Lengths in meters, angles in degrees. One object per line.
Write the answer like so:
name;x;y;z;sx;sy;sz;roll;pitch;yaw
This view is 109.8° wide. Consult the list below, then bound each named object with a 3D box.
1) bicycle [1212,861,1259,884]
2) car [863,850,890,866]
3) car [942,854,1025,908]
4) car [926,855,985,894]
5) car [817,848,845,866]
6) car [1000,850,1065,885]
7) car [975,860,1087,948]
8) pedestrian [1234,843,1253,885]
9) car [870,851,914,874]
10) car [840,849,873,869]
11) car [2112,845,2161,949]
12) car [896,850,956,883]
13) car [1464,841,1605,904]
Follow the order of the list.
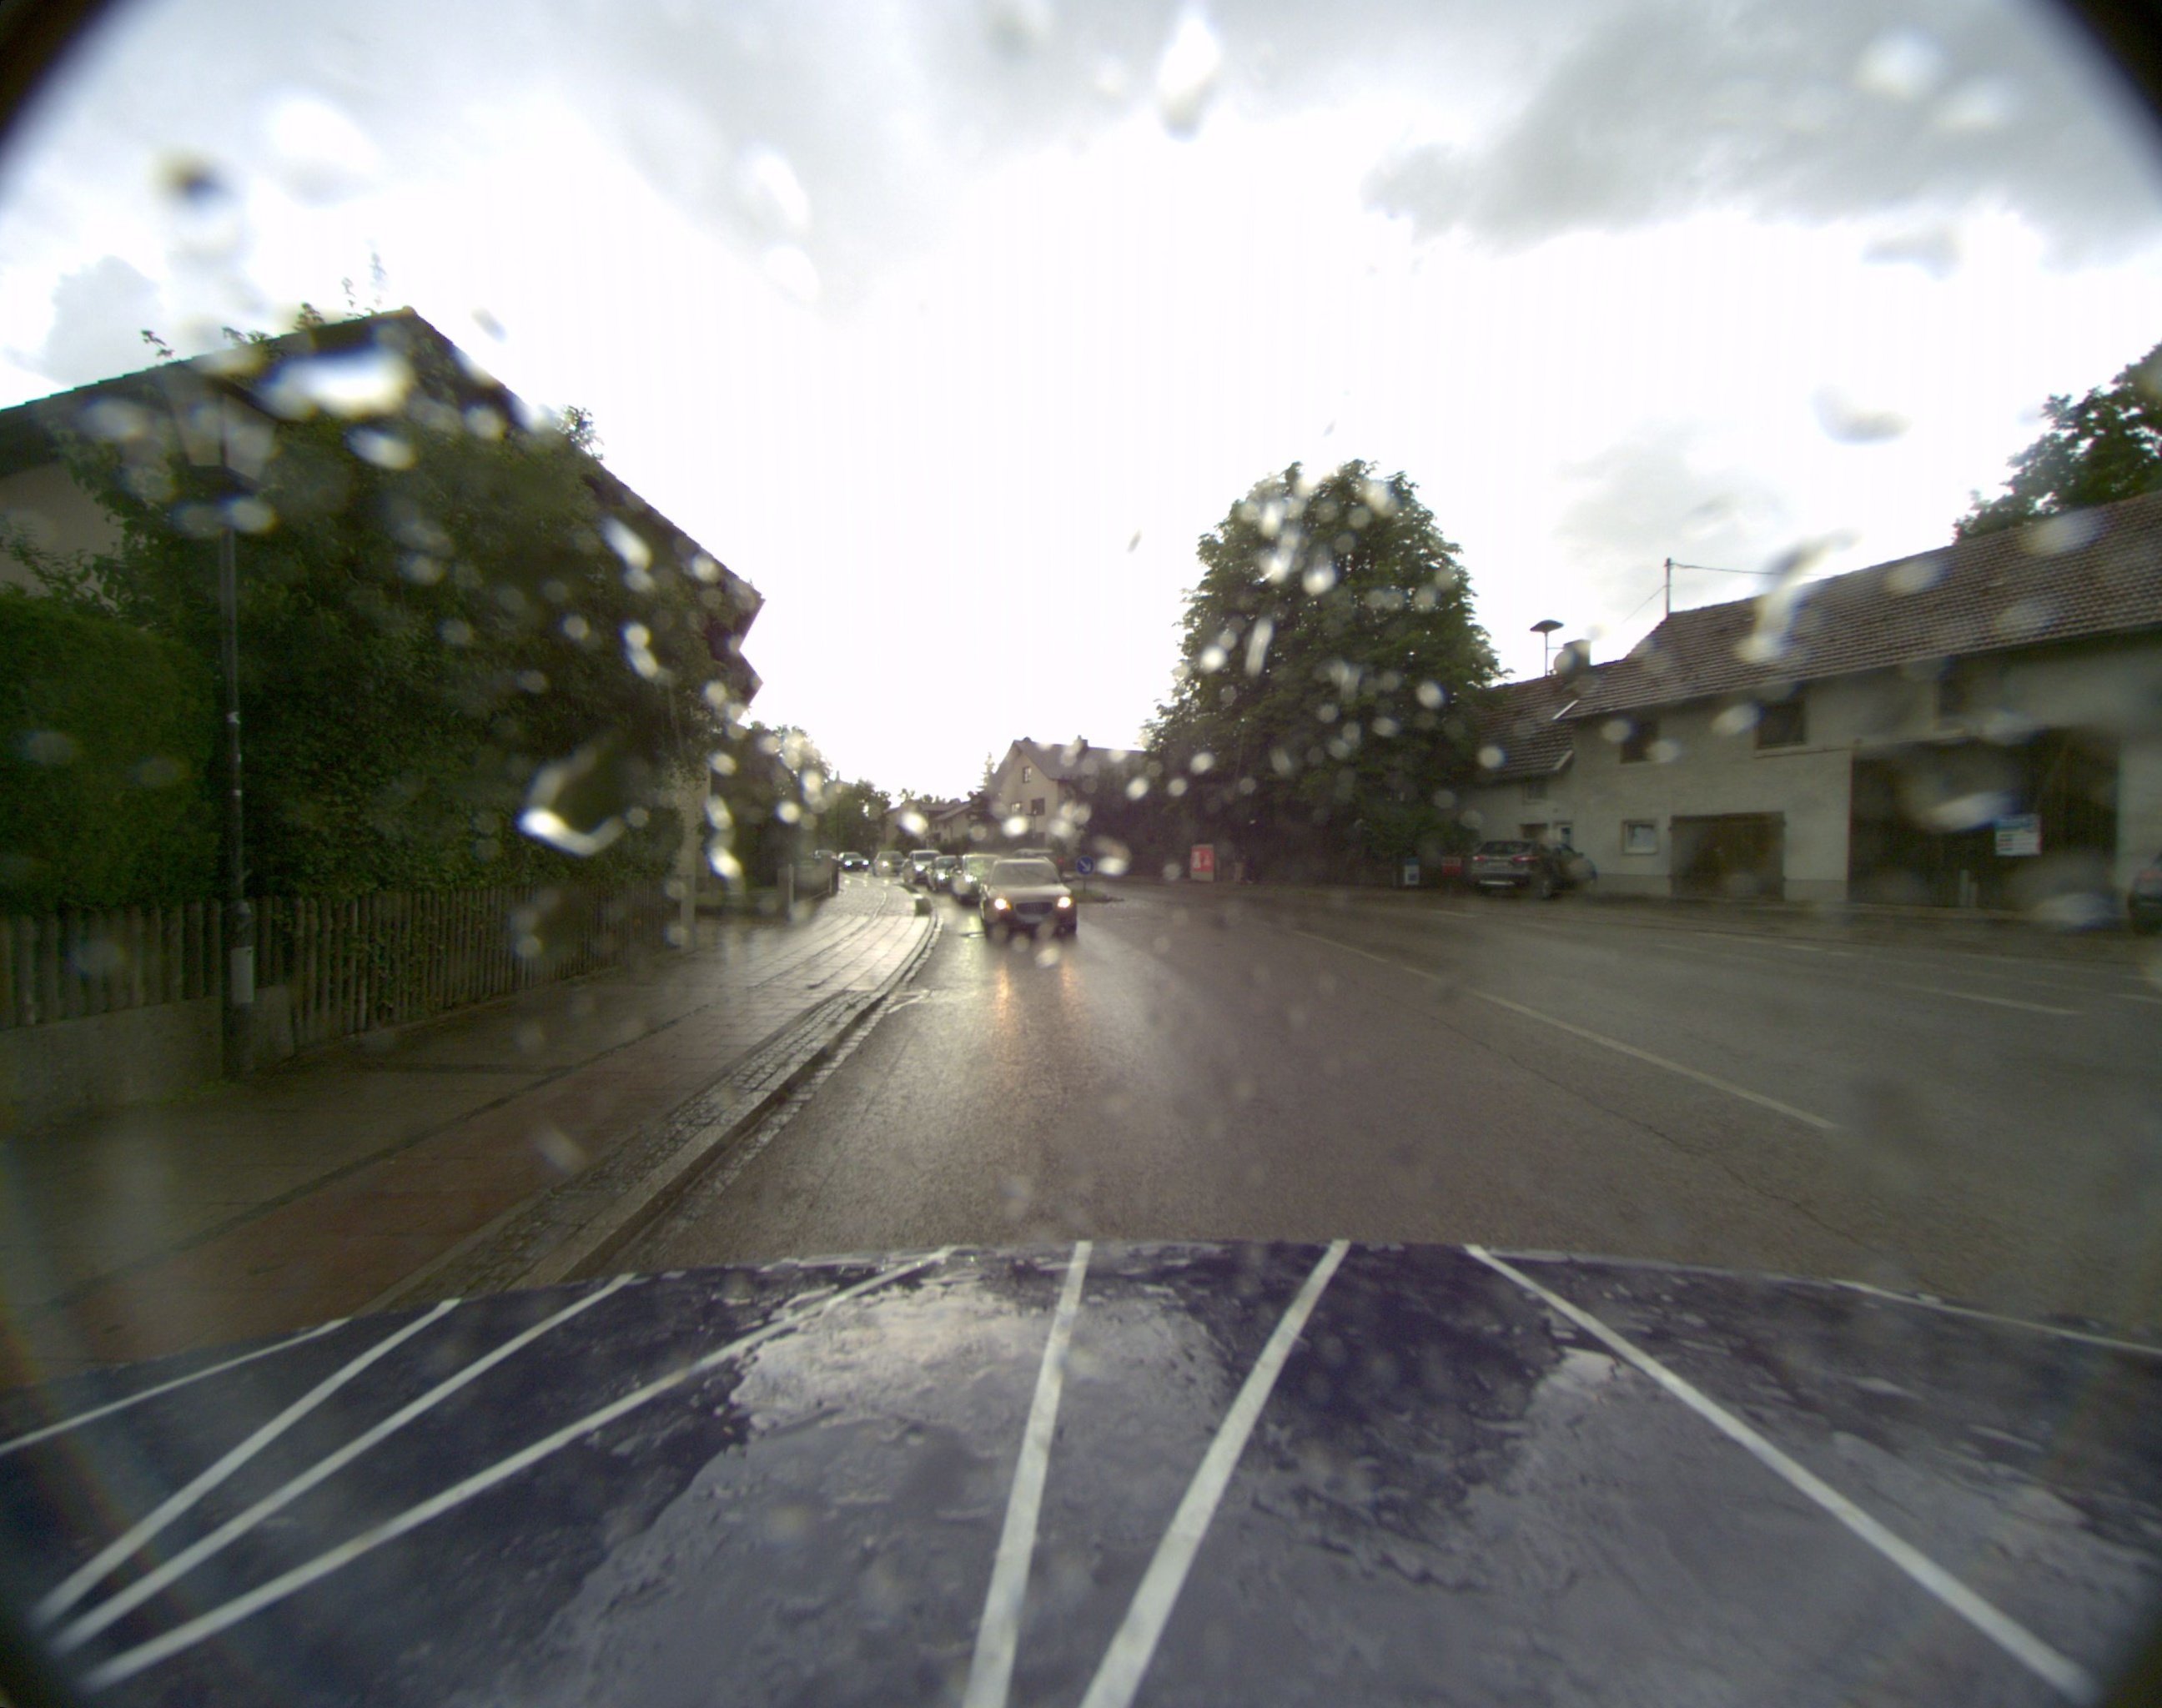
bicycle;6.258;0.734;30.807;0.665;0.897;1.869;-2;1;-39
car;-21.331;0.430;79.189;1.797;1.539;4.272;-3;1;-26
car;-3.300;0.769;24.689;1.796;1.470;5.377;-2;1;-16
car;-5.186;0.786;30.990;1.796;1.387;4.274;-2;1;-16
car;-24.099;0.286;73.181;1.797;1.539;4.271;-3;1;-28
car;-2.486;0.632;37.934;2.002;1.586;4.184;-2;0;-22
car;-1.164;0.889;15.456;1.795;1.387;4.277;-2;1;-10
pedestrian;6.354;0.375;29.712;0.652;1.619;0.479;-1;1;22
car;-12.709;0.558;50.944;1.797;1.365;4.271;-3;1;-28
car;-18.450;0.396;62.309;1.797;1.539;4.271;-3;1;-28
car;17.270;0.580;10.987;4.286;1.428;1.817;-1;1;-23
car;-7.950;0.596;38.639;1.797;1.539;4.271;-3;1;-28
car;12.407;0.482;20.683;4.290;1.539;1.813;1;0;-37
